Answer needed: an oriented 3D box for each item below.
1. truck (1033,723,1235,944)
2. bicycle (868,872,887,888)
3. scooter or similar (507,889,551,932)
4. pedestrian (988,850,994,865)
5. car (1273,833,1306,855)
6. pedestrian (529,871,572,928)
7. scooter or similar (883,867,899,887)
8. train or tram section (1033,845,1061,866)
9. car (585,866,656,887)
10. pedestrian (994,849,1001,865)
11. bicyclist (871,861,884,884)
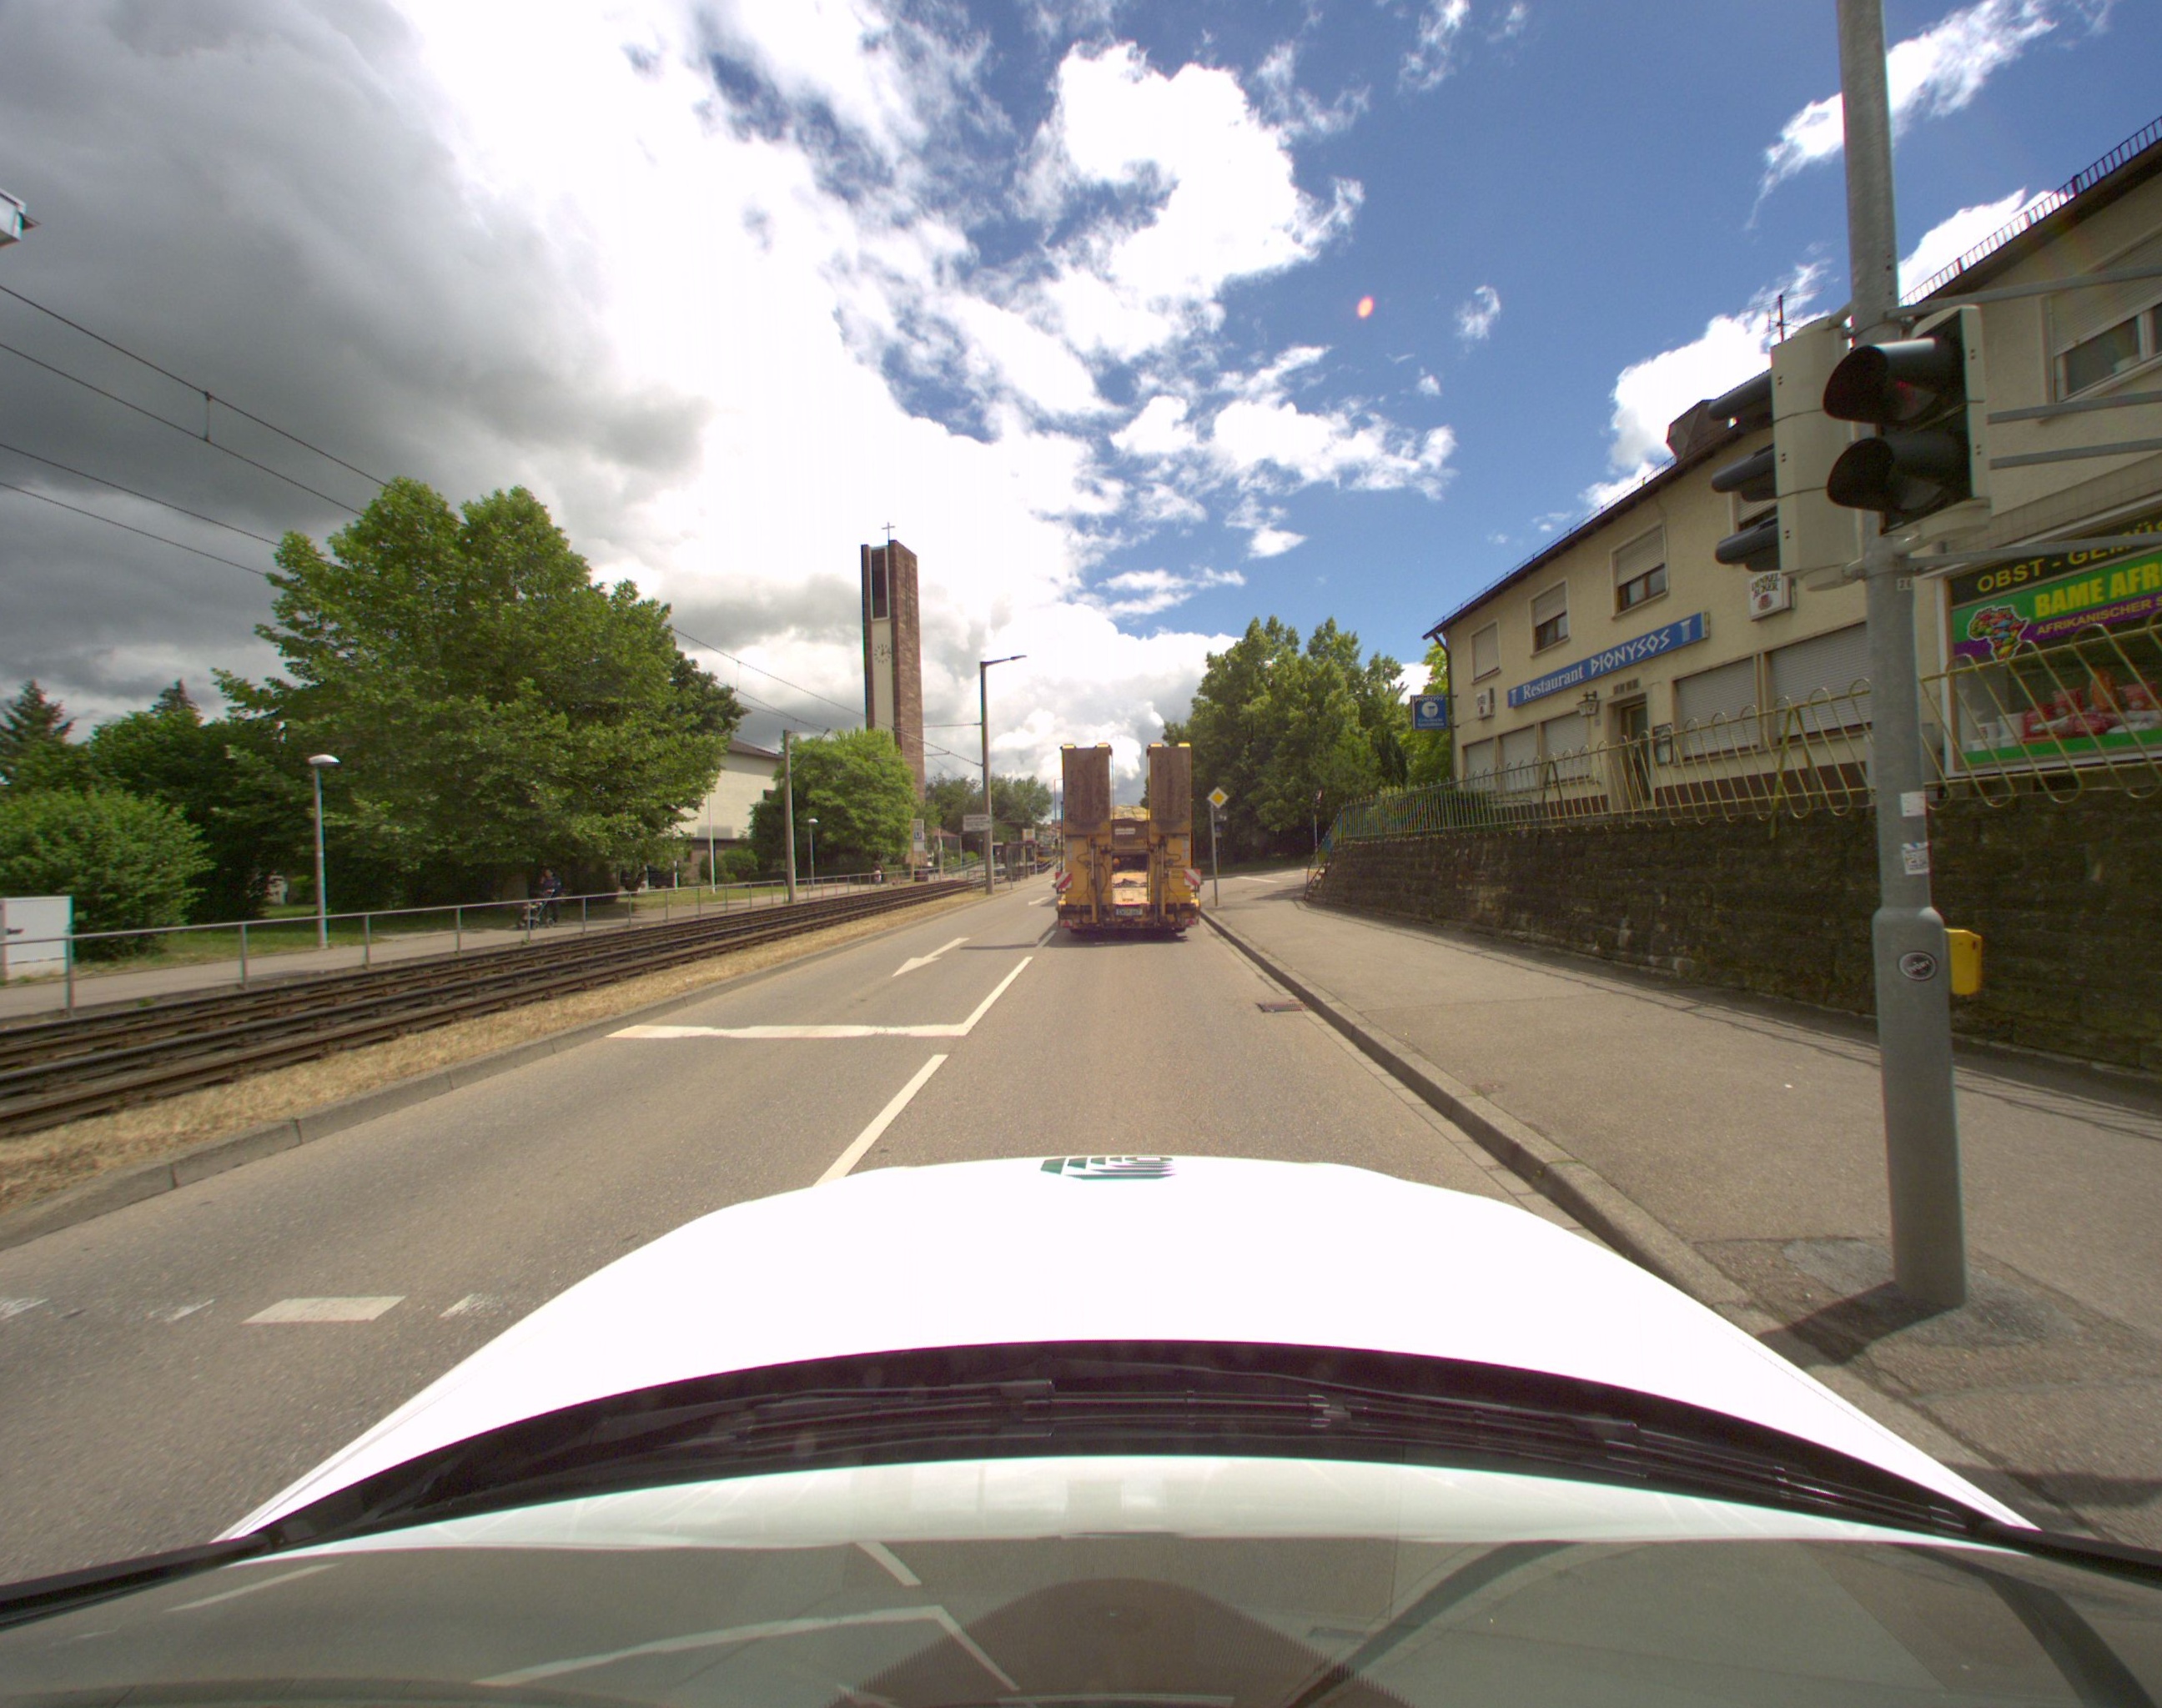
[{"bbox_3d":[0.964,-0.310,21.010,3.391,3.732,13.737,-2,0,0],"label":"truck"},{"bbox_3d":[-12.835,1.633,51.529,0.635,0.994,1.929,0,0,3],"label":"bicycle"},{"bbox_3d":[-14.850,1.511,21.929,0.602,1.115,0.821,-1,-1,1],"label":"scooter or similar"},{"bbox_3d":[-10.663,0.423,96.841,0.582,1.778,0.576,0,-1,2],"label":"pedestrian"},{"bbox_3d":[16.152,-0.783,63.103,1.654,1.500,3.665,-4,-1,3],"label":"car"},{"bbox_3d":[-14.842,1.258,22.795,0.610,1.540,0.874,-1,-1,1],"label":"pedestrian"},{"bbox_3d":[-12.443,1.473,53.263,0.646,1.237,1.402,0,0,3],"label":"scooter or similar"},{"bbox_3d":[-5.618,0.301,138.843,3.095,3.465,18.837,0,0,3],"label":"train or tram section"},{"bbox_3d":[-35.259,1.690,62.476,1.977,1.574,4.499,0,0,20],"label":"car"},{"bbox_3d":[-10.417,0.382,101.762,0.709,2.014,0.732,0,-1,0],"label":"pedestrian"},{"bbox_3d":[-12.850,1.138,51.403,0.630,1.429,0.791,0,-1,2],"label":"bicyclist"}]
